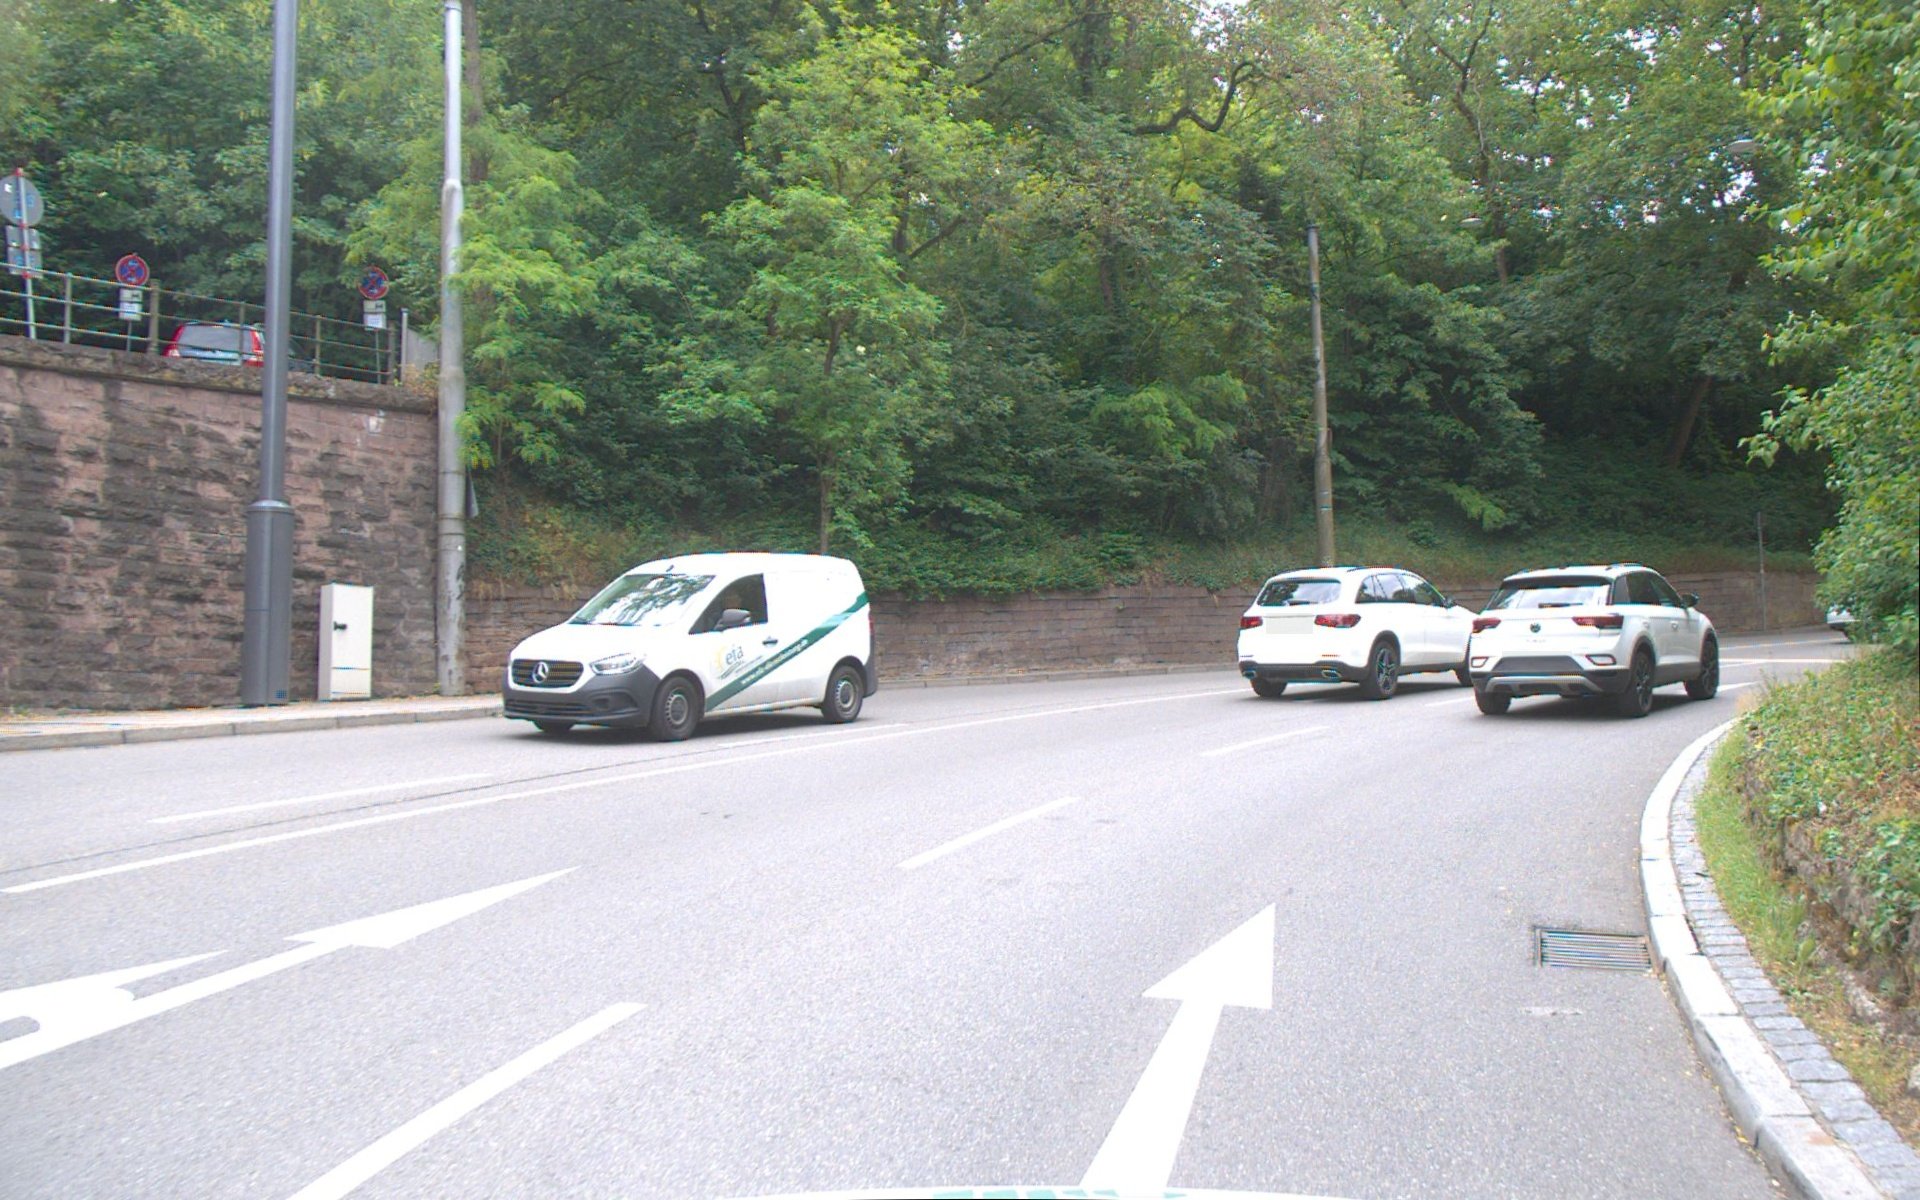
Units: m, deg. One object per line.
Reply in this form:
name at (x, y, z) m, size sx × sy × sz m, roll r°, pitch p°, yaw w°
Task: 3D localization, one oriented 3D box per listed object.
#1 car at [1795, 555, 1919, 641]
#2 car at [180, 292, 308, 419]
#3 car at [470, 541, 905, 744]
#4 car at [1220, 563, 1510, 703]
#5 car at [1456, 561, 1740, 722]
car at (18.812, -0.100, 32.206) m, size 4.692 × 1.561 × 1.860 m, roll -2°, pitch 0°, yaw -21°
car at (-12.314, -4.157, 28.634) m, size 1.651 × 1.404 × 3.715 m, roll 2°, pitch -3°, yaw -18°
car at (-2.631, 0.376, 17.146) m, size 1.789 × 1.795 × 4.657 m, roll 2°, pitch 0°, yaw 33°
car at (5.518, 0.357, 22.112) m, size 1.831 × 1.633 × 4.644 m, roll 0°, pitch 1°, yaw 41°
car at (7.271, 0.376, 18.595) m, size 1.727 × 1.580 × 4.316 m, roll -1°, pitch 1°, yaw 39°
